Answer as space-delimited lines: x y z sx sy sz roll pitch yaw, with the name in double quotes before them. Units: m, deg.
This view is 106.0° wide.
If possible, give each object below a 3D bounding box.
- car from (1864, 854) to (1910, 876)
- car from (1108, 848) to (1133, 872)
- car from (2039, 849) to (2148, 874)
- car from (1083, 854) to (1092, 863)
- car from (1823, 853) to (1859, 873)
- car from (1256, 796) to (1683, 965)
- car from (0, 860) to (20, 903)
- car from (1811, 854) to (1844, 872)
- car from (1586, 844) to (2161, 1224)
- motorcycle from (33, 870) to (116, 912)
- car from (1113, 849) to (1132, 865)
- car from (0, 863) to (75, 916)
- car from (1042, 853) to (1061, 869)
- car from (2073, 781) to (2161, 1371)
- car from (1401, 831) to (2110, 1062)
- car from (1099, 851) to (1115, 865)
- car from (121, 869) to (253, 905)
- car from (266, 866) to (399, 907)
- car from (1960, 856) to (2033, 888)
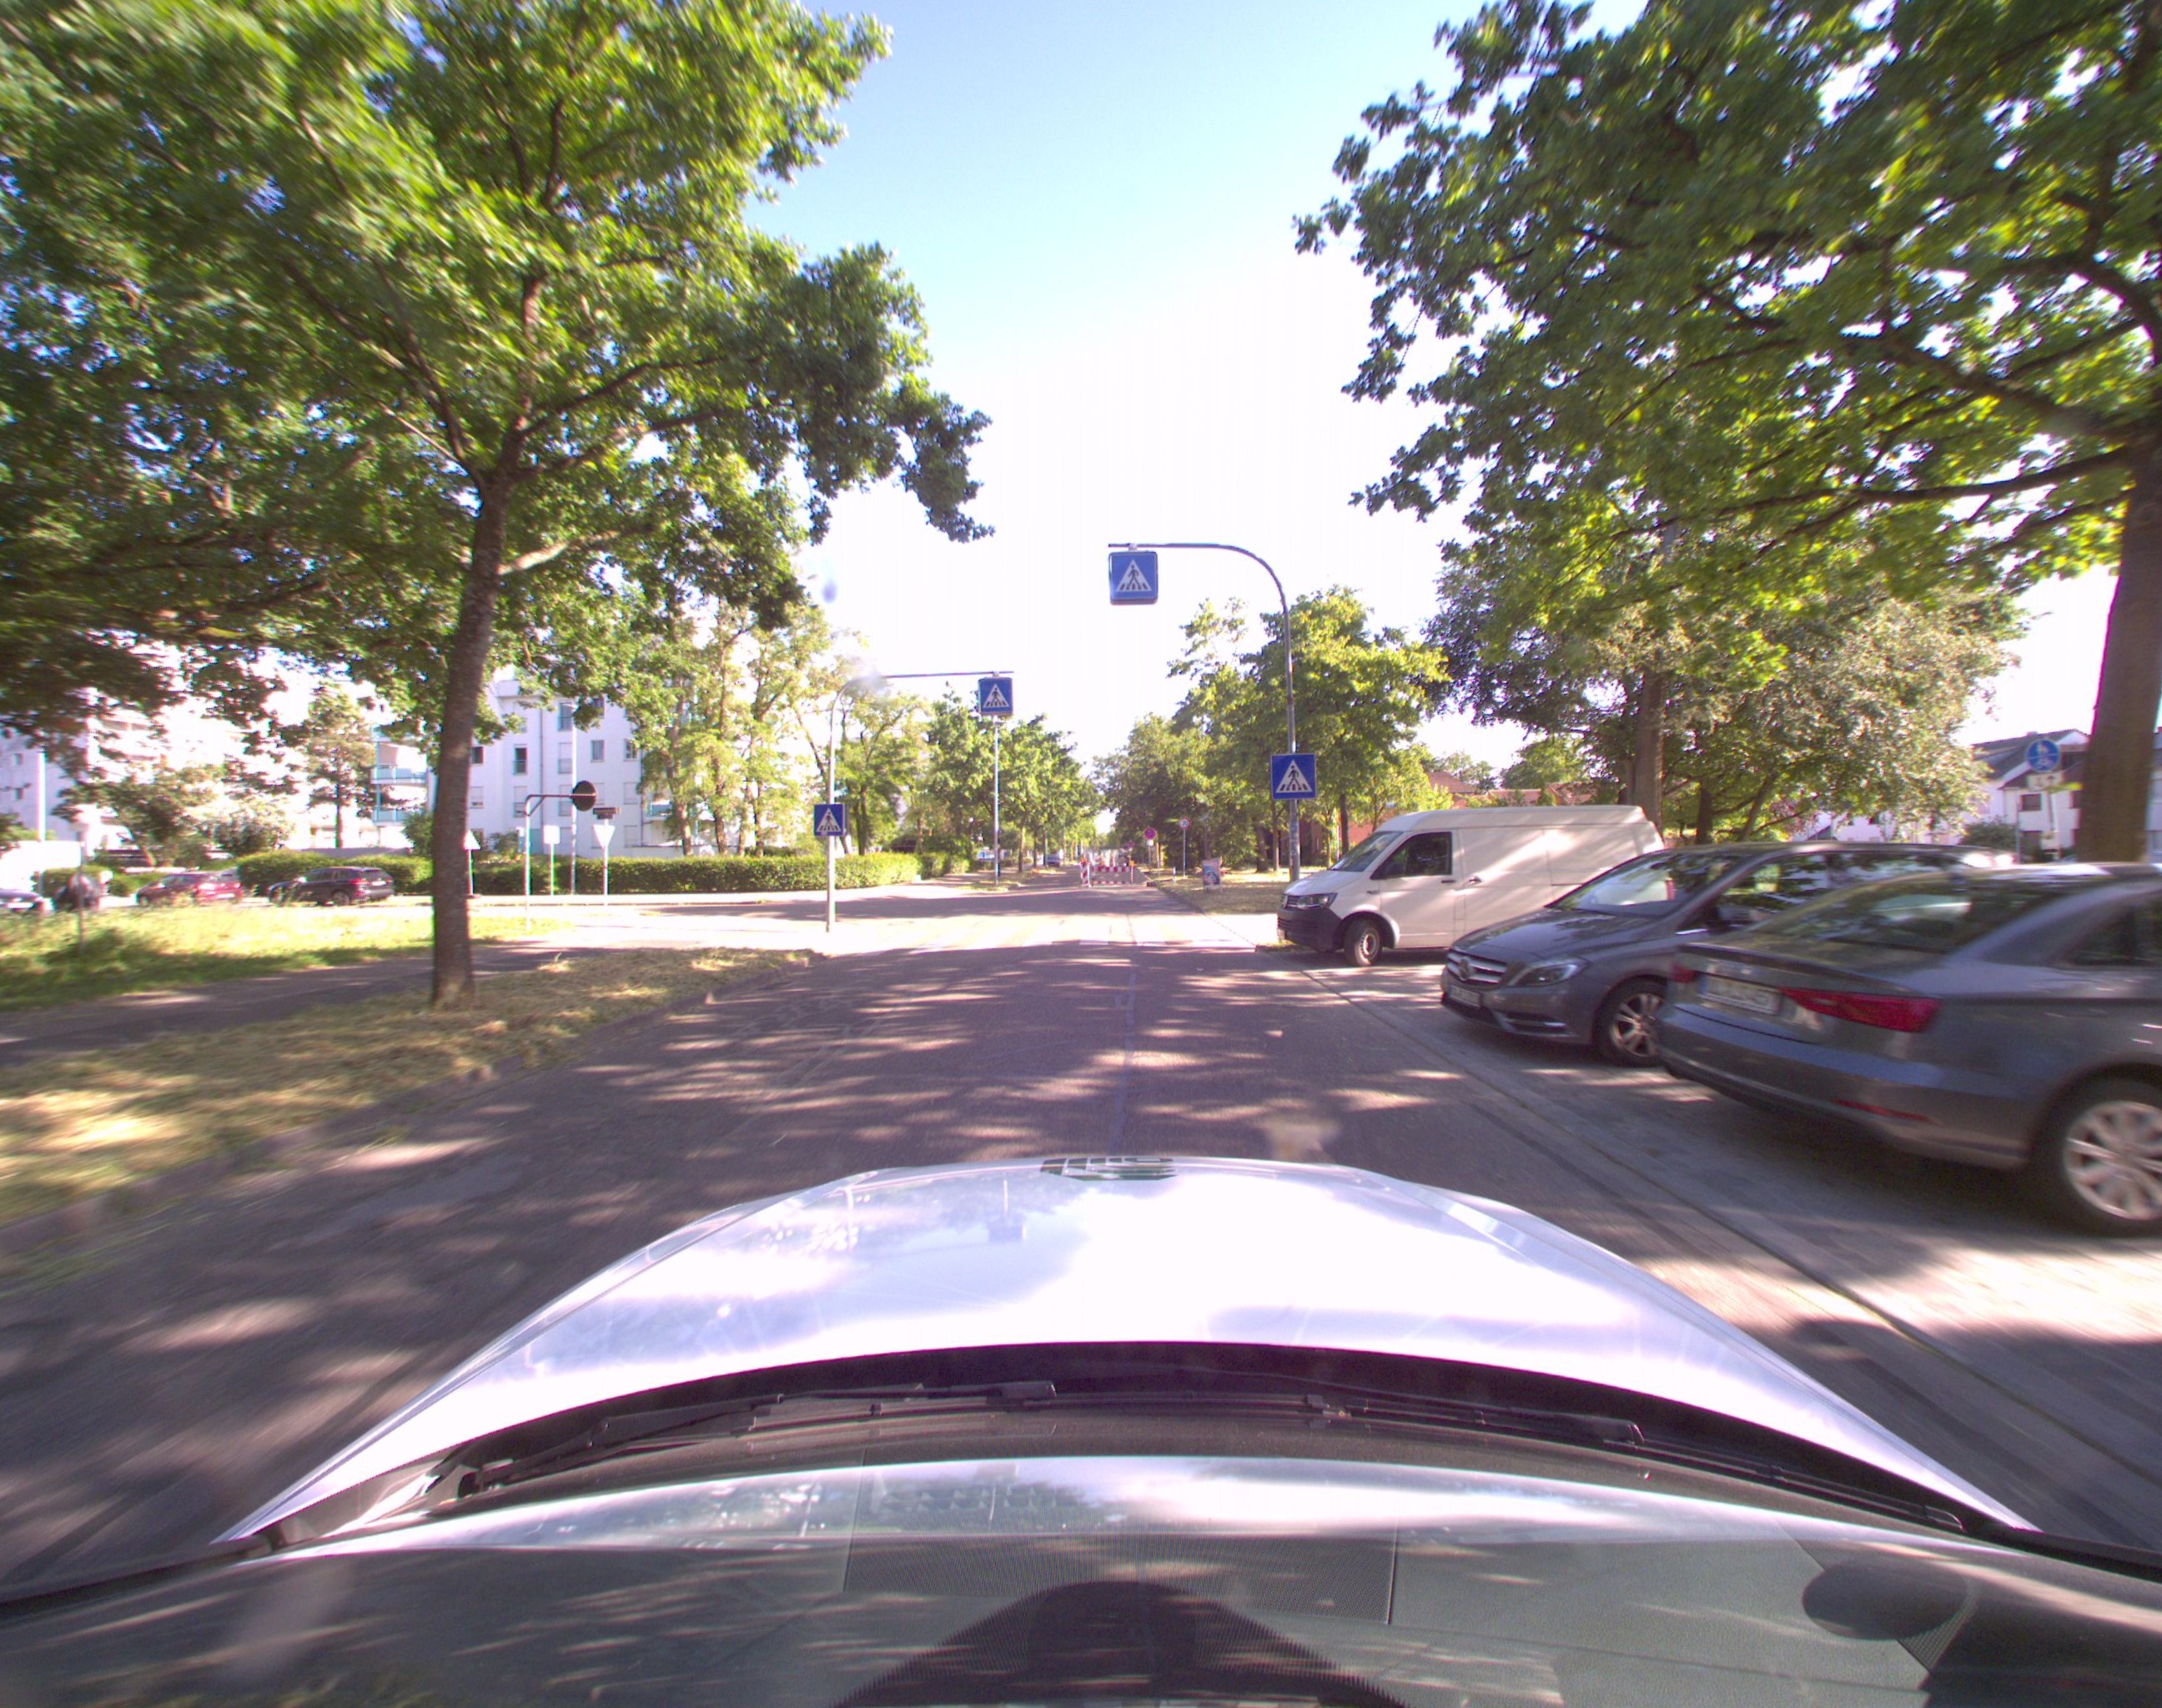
"car" 57.269 0.765 57.906 1.714 1.555 3.489 -1 0 34
"car" 3.240 0.459 67.895 1.986 1.933 4.001 0 0 1
"car" 65.167 0.477 52.488 3.956 1.574 2.009 0 -1 16
"car" 1.409 0.963 177.362 1.986 1.716 4.001 -1 0 1
"car" 63.311 0.740 67.896 1.714 1.555 3.489 -1 0 34
"car" 5.351 0.358 11.789 5.170 2.105 2.082 -1 -1 0
"car" -51.752 1.310 37.306 4.430 1.957 2.007 -1 1 11
"car" 66.975 0.802 73.099 1.714 1.555 3.489 -1 0 34
"car" 5.073 0.677 4.012 3.970 1.433 1.902 -1 0 3
"motorcycle" -32.067 1.141 26.003 1.155 1.253 2.534 0 0 -39
"car" 4.469 0.341 88.620 1.986 1.716 4.001 0 0 1
"car" -35.098 1.097 25.962 3.964 1.618 2.005 0 0 8
"car" -3.428 0.801 94.892 1.986 1.716 4.001 0 0 1
"car" 5.170 0.520 1.523 4.370 1.651 1.850 -3 0 -1
"car" 5.077 0.641 6.624 4.199 1.568 1.933 0 0 -1
"car" 3.338 0.537 104.403 1.986 1.716 4.001 0 0 1
"car" -38.081 1.396 34.736 3.964 1.423 1.815 -1 0 8
"car" -31.252 1.332 34.079 3.964 1.613 2.019 0 0 8
"car" 47.070 0.882 41.941 1.714 1.555 3.489 -1 0 34
